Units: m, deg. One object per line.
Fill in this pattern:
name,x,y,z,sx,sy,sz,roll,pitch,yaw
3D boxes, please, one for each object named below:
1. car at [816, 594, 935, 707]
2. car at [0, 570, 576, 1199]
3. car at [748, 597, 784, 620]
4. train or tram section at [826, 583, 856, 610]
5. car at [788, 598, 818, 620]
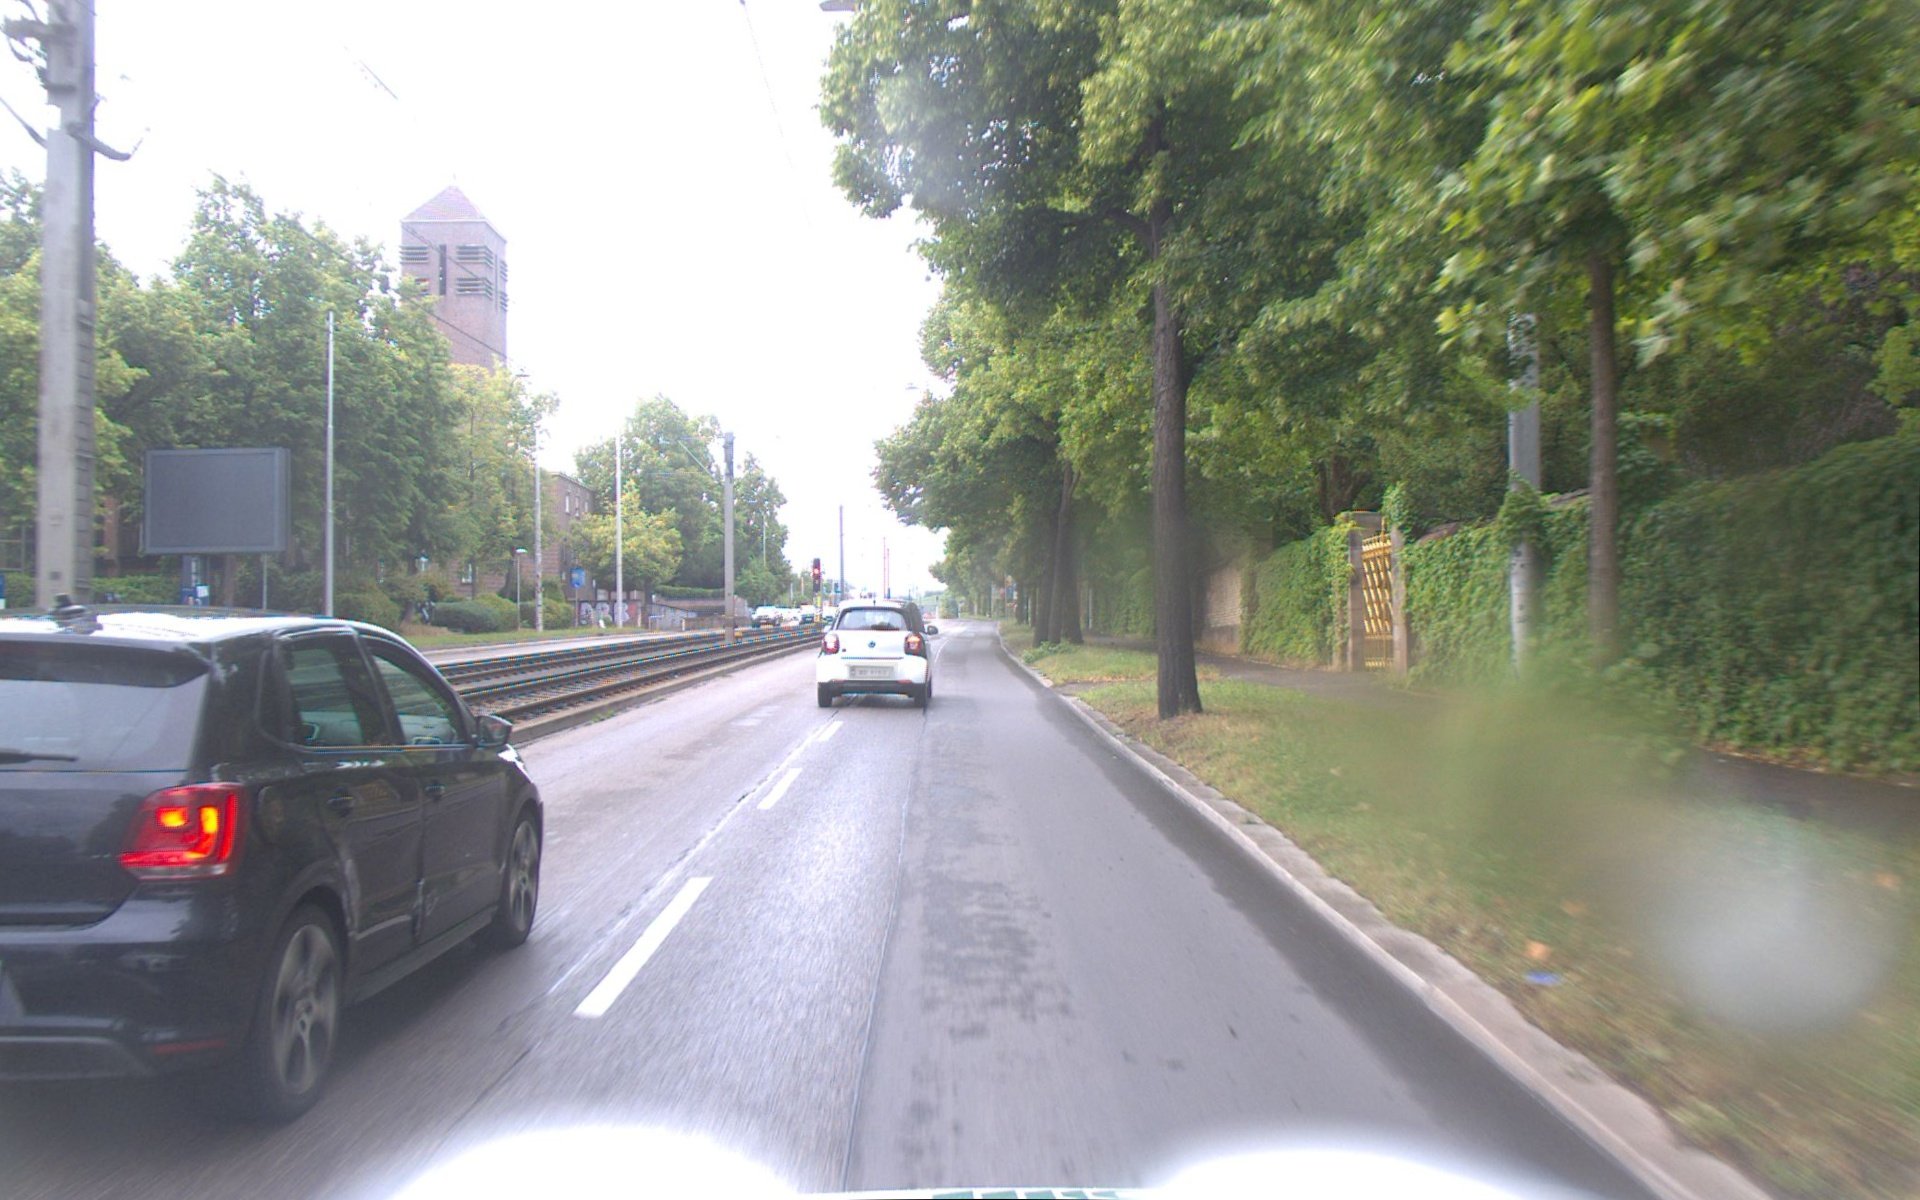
car,-1.236,0.717,25.468,1.642,1.557,3.721,1,1,0
car,-2.645,0.669,5.793,1.758,1.511,3.963,1,0,-2
car,-15.056,0.650,128.371,1.970,1.685,4.619,-1,0,3
train or tram section,-16.651,-0.459,231.161,2.783,3.668,9.239,1,0,-13
car,-12.513,0.703,131.978,1.796,1.685,4.241,-1,0,3
